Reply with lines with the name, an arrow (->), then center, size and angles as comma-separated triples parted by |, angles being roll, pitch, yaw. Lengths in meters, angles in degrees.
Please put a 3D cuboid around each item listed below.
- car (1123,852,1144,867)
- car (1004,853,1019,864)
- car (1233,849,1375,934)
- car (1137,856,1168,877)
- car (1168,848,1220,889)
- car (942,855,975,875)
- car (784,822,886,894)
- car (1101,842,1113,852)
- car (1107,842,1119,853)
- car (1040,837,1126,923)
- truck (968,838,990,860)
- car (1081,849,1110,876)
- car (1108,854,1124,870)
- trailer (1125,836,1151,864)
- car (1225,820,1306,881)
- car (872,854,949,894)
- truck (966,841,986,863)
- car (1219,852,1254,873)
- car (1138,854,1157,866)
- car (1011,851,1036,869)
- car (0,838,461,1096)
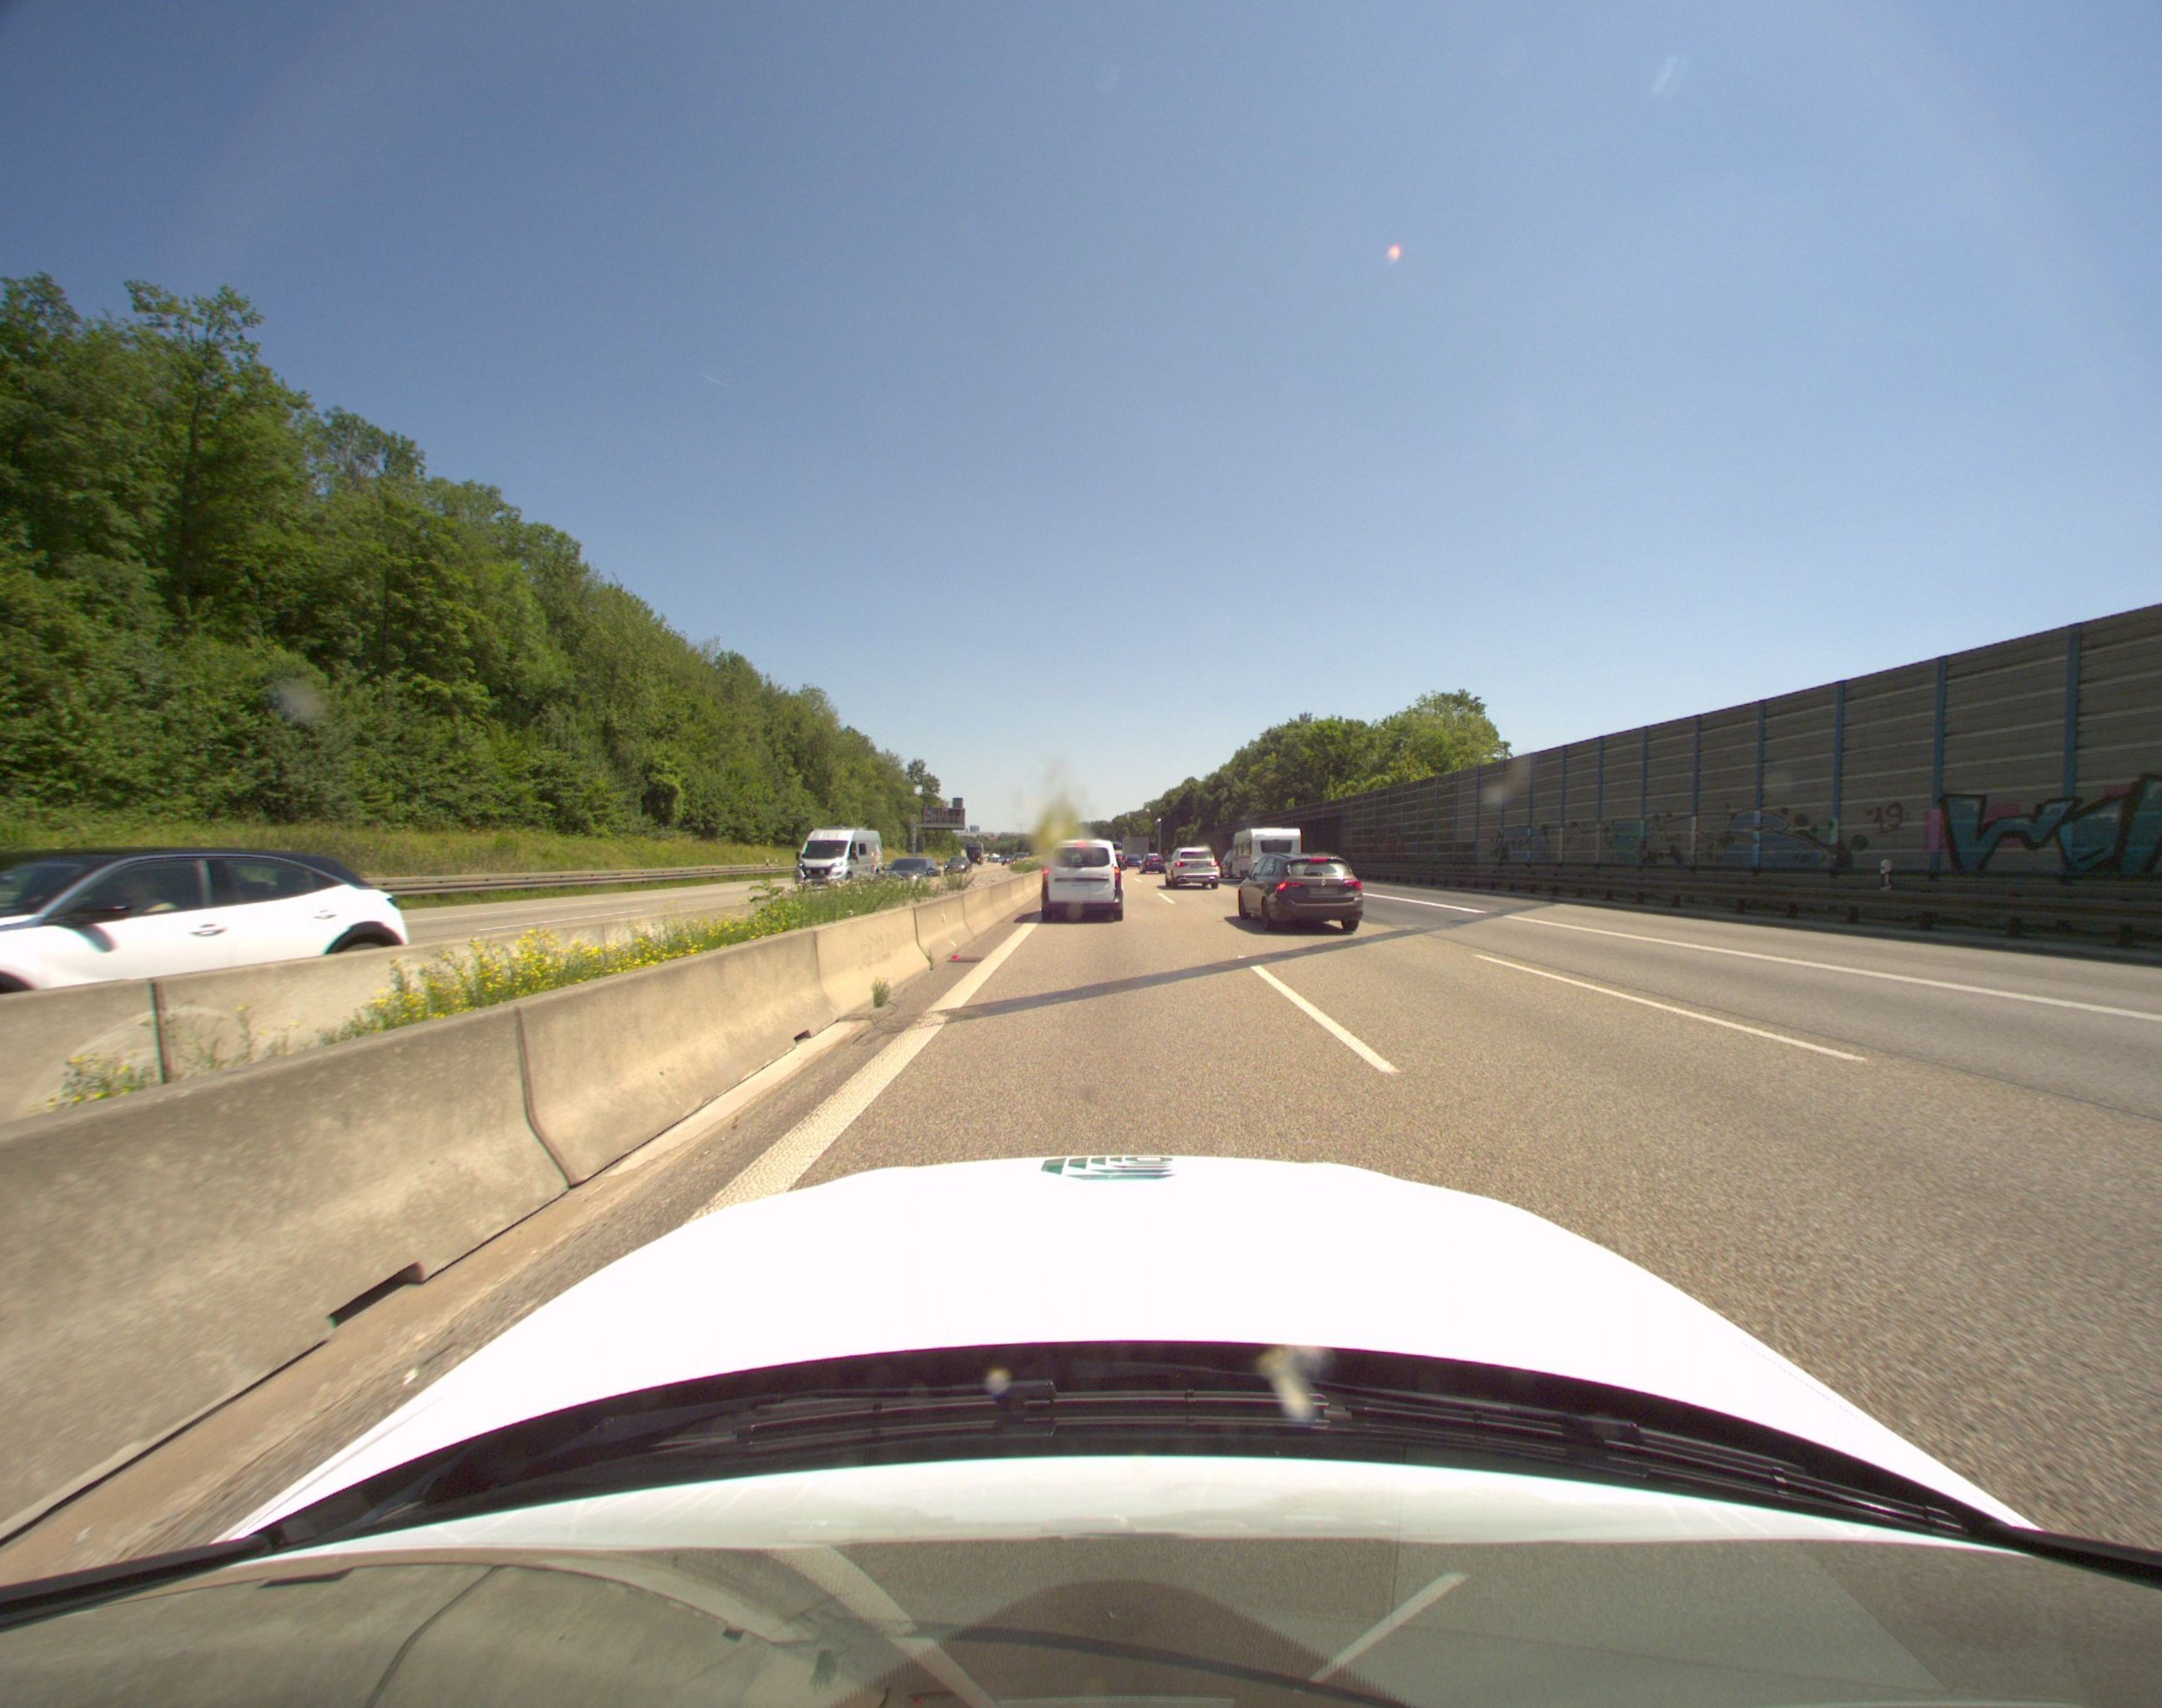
car -> 5.099, 0.545, 79.507 | 1.819, 1.424, 3.998 | -1, 0, -1
car -> -10.828, 0.664, 127.057 | 1.987, 1.627, 4.475 | 0, 0, 1
car -> 4.380, 0.653, 16.712 | 1.831, 1.513, 4.403 | 0, 0, 2
car -> 5.071, 0.870, 58.349 | 1.819, 1.424, 3.998 | -1, 0, -1
car -> 4.664, 0.542, 34.045 | 1.863, 1.608, 3.882 | 0, 0, 3
car -> -9.357, 0.799, 62.453 | 1.807, 1.402, 4.272 | 0, 0, 1
car -> -10.036, 0.157, 33.859 | 2.207, 2.701, 6.065 | 0, 0, 2
car -> 5.375, -1.525, 170.003 | 1.990, 2.013, 3.993 | -1, 0, -5
car -> 6.008, -1.126, 152.901 | 1.988, 2.013, 3.998 | -1, 0, -1
car -> 0.150, 0.550, 19.253 | 1.794, 1.808, 4.004 | -1, 0, 3
truck -> -18.968, -0.838, 152.160 | 2.821, 3.939, 13.735 | -1, 0, -2
car -> 1.046, 0.626, 59.671 | 1.988, 1.860, 3.998 | -1, 0, -1
car -> 4.483, 1.020, 104.289 | 1.819, 1.989, 3.998 | -1, -1, -1
trailer -> 8.405, -0.528, 121.109 | 3.073, 3.985, 10.318 | -1, 0, -1
car -> 8.963, -0.166, 40.278 | 2.471, 2.766, 6.217 | -1, 0, -1
car -> -6.340, 0.709, 30.786 | 1.868, 1.410, 4.414 | 0, 0, 2
truck -> -18.766, -0.384, 145.623 | 2.821, 3.939, 6.002 | -1, 0, -2
car -> 11.112, 0.616, 58.279 | 1.817, 1.424, 4.001 | -1, 0, 1
car -> 7.959, 0.741, 97.818 | 1.819, 1.424, 3.998 | 0, 0, -1
car -> -5.647, 0.579, 80.582 | 1.986, 1.724, 4.358 | 0, 0, 1
car -> -7.243, 0.673, 6.102 | 1.797, 1.527, 4.259 | 0, 0, 2
